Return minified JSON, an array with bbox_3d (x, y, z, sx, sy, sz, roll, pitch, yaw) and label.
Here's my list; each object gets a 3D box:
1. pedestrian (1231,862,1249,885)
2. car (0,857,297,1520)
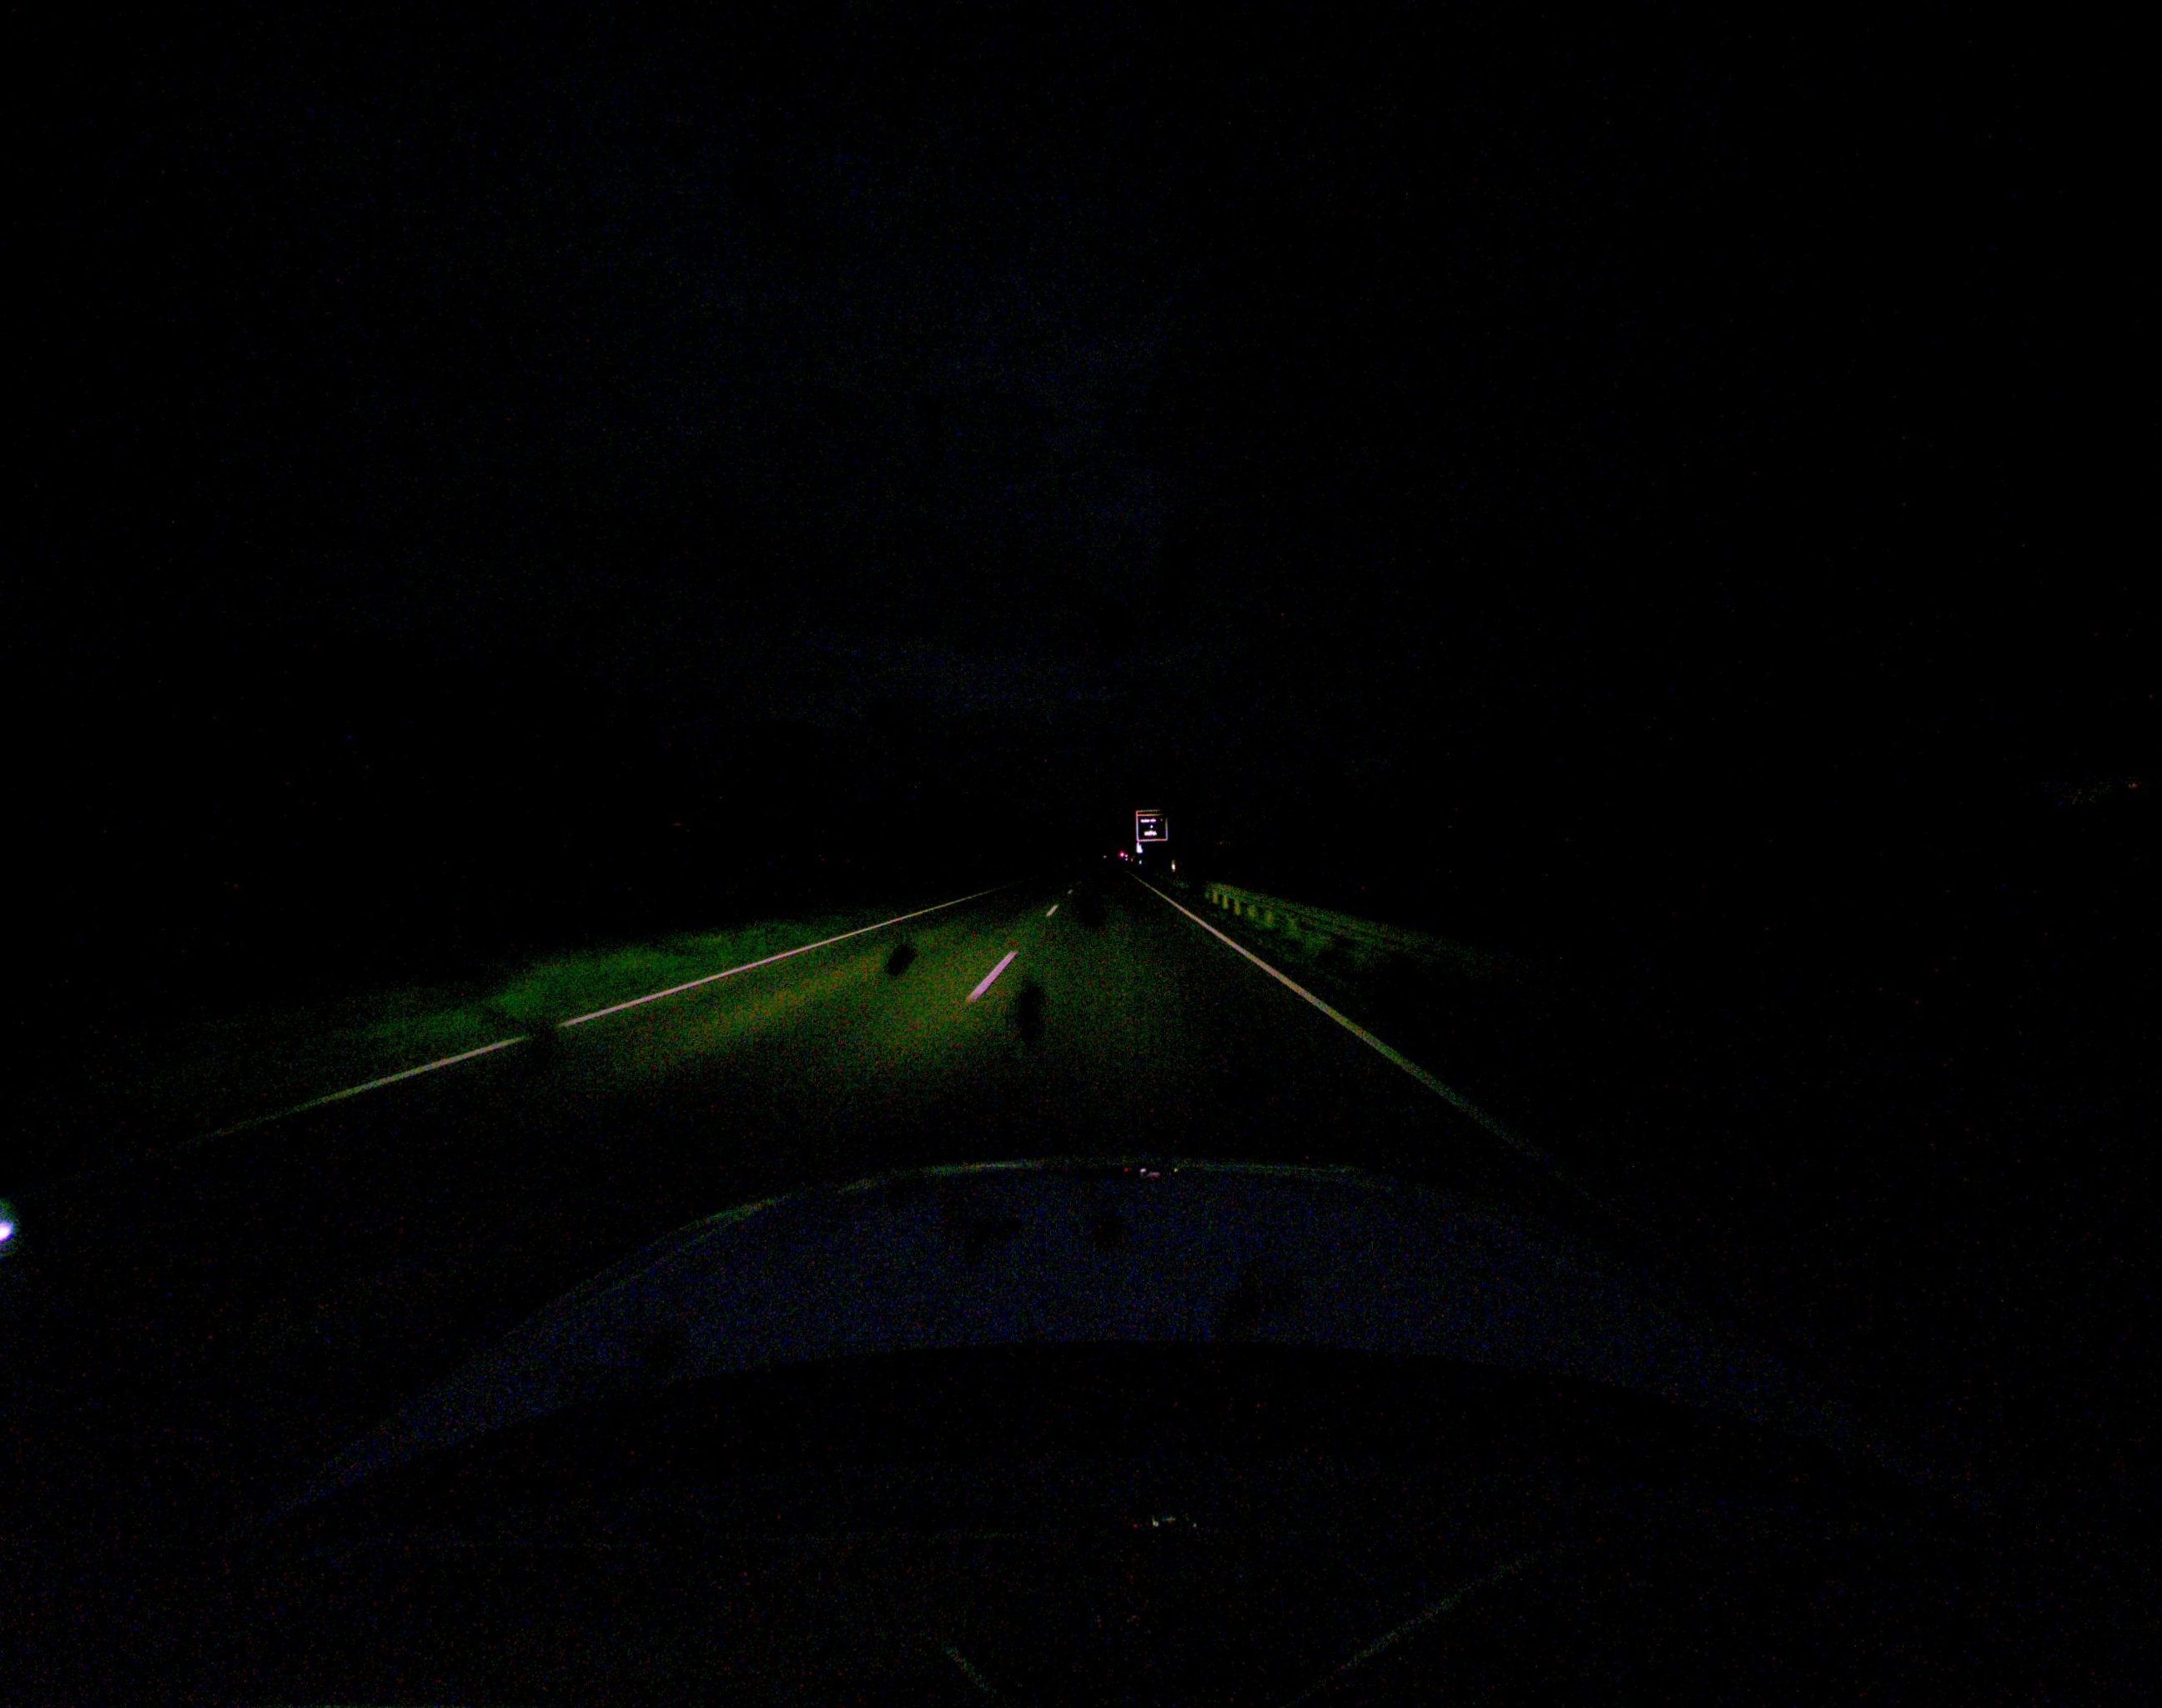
[{"bbox_3d":[11.319,1.387,57.979,1.058,1.643,1.119,-1,-1,2],"label":"pedestrian"},{"bbox_3d":[-3.284,0.750,0.226,1.636,1.490,4.580,-1,0,1],"label":"car"}]
